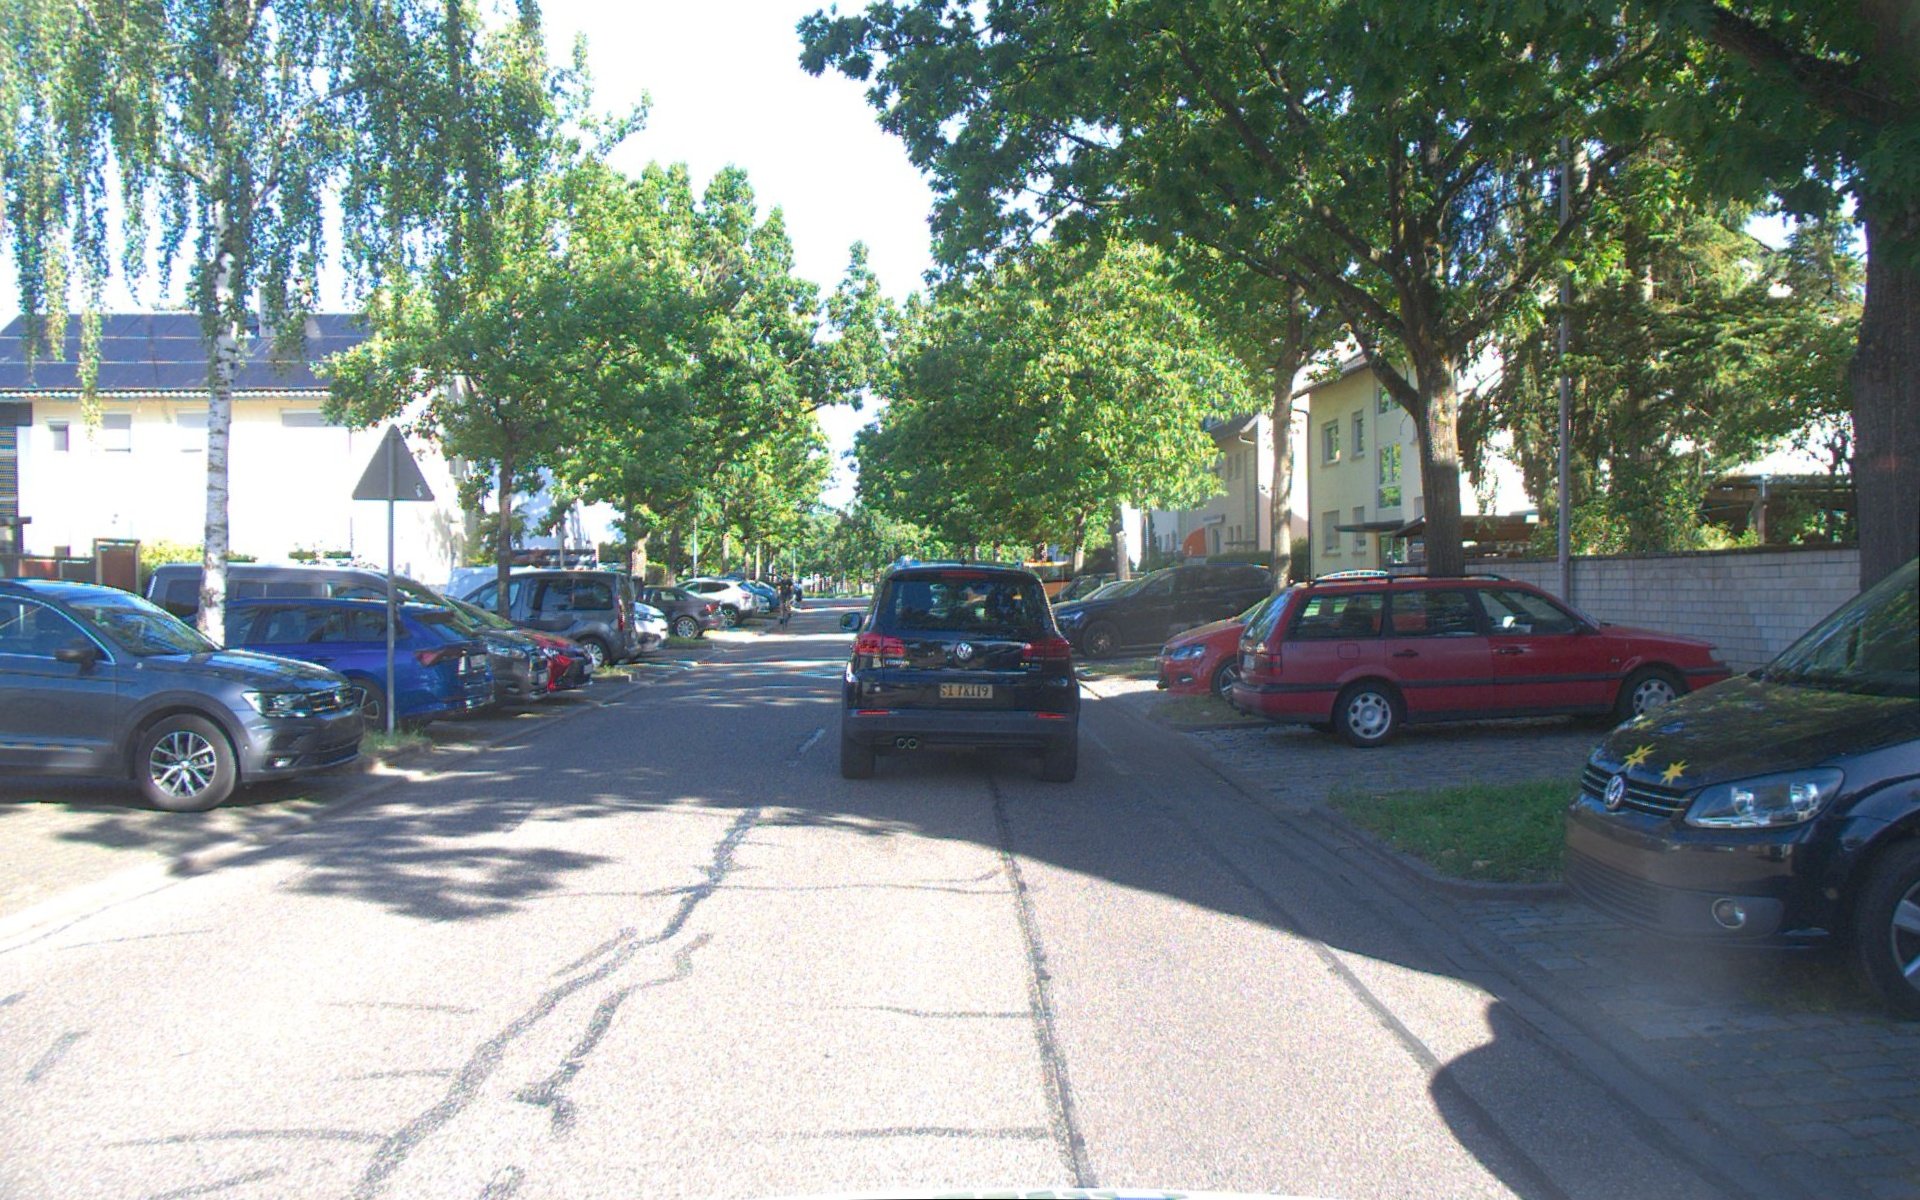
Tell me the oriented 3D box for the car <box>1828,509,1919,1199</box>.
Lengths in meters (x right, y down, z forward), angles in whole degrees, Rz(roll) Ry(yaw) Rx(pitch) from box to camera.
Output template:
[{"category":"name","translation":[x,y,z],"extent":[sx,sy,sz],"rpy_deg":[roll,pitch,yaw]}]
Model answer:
[{"category":"car","translation":[4.524,0.508,3.468],"extent":[4.414,1.708,1.878],"rpy_deg":[-4,1,-4]}]

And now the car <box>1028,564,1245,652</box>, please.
[{"category":"car","translation":[3.659,0.143,34.760],"extent":[4.235,1.556,1.839],"rpy_deg":[-3,1,-4]}]

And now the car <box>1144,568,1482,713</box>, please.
[{"category":"car","translation":[4.262,0.477,20.357],"extent":[3.701,1.510,1.755],"rpy_deg":[-3,0,-1]}]

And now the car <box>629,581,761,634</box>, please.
[{"category":"car","translation":[-8.830,0.231,55.367],"extent":[4.103,1.594,1.791],"rpy_deg":[-2,1,-2]}]

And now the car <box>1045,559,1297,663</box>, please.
[{"category":"car","translation":[4.003,0.185,31.820],"extent":[4.483,1.675,1.837],"rpy_deg":[-3,1,-3]}]

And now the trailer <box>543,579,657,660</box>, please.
[{"category":"trailer","translation":[-8.148,0.427,37.563],"extent":[2.189,1.702,1.475],"rpy_deg":[-2,1,1]}]

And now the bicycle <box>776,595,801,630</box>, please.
[{"category":"bicycle","translation":[-5.635,0.403,54.344],"extent":[0.585,1.076,1.986],"rpy_deg":[-4,1,-2]}]

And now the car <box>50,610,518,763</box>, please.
[{"category":"car","translation":[-6.984,0.866,17.393],"extent":[4.184,1.449,1.724],"rpy_deg":[0,1,0]}]

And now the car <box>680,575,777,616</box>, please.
[{"category":"car","translation":[-9.832,-0.190,70.539],"extent":[3.908,1.623,1.856],"rpy_deg":[-2,0,-4]}]

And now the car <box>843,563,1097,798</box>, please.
[{"category":"car","translation":[0.020,0.547,13.714],"extent":[1.801,1.665,3.957],"rpy_deg":[0,1,-2]}]

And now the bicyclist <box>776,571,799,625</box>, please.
[{"category":"bicyclist","translation":[-5.663,-0.066,54.308],"extent":[0.584,1.703,0.975],"rpy_deg":[-4,1,-2]}]

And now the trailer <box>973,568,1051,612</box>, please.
[{"category":"trailer","translation":[2.116,-0.411,67.819],"extent":[2.892,1.693,1.611],"rpy_deg":[-2,1,-10]}]

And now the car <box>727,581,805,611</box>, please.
[{"category":"car","translation":[-10.714,-0.240,91.629],"extent":[4.192,1.503,1.767],"rpy_deg":[-2,1,-4]}]

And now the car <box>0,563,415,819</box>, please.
[{"category":"car","translation":[-6.553,0.660,12.660],"extent":[4.124,1.754,1.761],"rpy_deg":[-2,1,-1]}]

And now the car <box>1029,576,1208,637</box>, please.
[{"category":"car","translation":[4.004,0.149,42.190],"extent":[4.338,1.354,1.690],"rpy_deg":[-2,1,-1]}]

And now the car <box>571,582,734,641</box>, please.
[{"category":"car","translation":[-8.314,0.293,44.998],"extent":[4.127,1.497,1.689],"rpy_deg":[-1,1,-4]}]

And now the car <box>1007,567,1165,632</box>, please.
[{"category":"car","translation":[3.582,-0.036,47.553],"extent":[4.253,1.587,1.866],"rpy_deg":[-3,1,-4]}]

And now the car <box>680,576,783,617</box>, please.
[{"category":"car","translation":[-10.306,-0.163,74.919],"extent":[4.434,1.659,1.936],"rpy_deg":[-2,1,-4]}]

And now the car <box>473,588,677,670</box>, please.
[{"category":"car","translation":[-8.068,0.581,34.893],"extent":[3.908,1.542,1.689],"rpy_deg":[-2,1,-4]}]

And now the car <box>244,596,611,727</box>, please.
[{"category":"car","translation":[-7.127,0.794,22.530],"extent":[4.389,1.526,1.835],"rpy_deg":[-2,1,-5]}]

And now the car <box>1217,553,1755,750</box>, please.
[{"category":"car","translation":[4.808,0.447,15.557],"extent":[4.412,1.471,1.838],"rpy_deg":[-3,0,-1]}]

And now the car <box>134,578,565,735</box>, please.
[{"category":"car","translation":[-7.320,0.642,20.207],"extent":[4.580,1.799,1.794],"rpy_deg":[0,1,-3]}]

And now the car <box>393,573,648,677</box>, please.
[{"category":"car","translation":[-7.830,0.422,29.822],"extent":[4.156,1.801,1.965],"rpy_deg":[0,1,-6]}]

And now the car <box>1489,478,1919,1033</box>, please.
[{"category":"car","translation":[4.493,0.429,6.557],"extent":[4.129,1.812,1.788],"rpy_deg":[-3,0,-4]}]

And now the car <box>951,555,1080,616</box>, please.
[{"category":"car","translation":[2.092,-0.551,63.318],"extent":[4.723,2.119,2.085],"rpy_deg":[-2,1,-4]}]

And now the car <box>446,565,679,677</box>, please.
[{"category":"car","translation":[-7.741,0.396,32.571],"extent":[4.154,1.978,1.998],"rpy_deg":[-2,0,-6]}]
